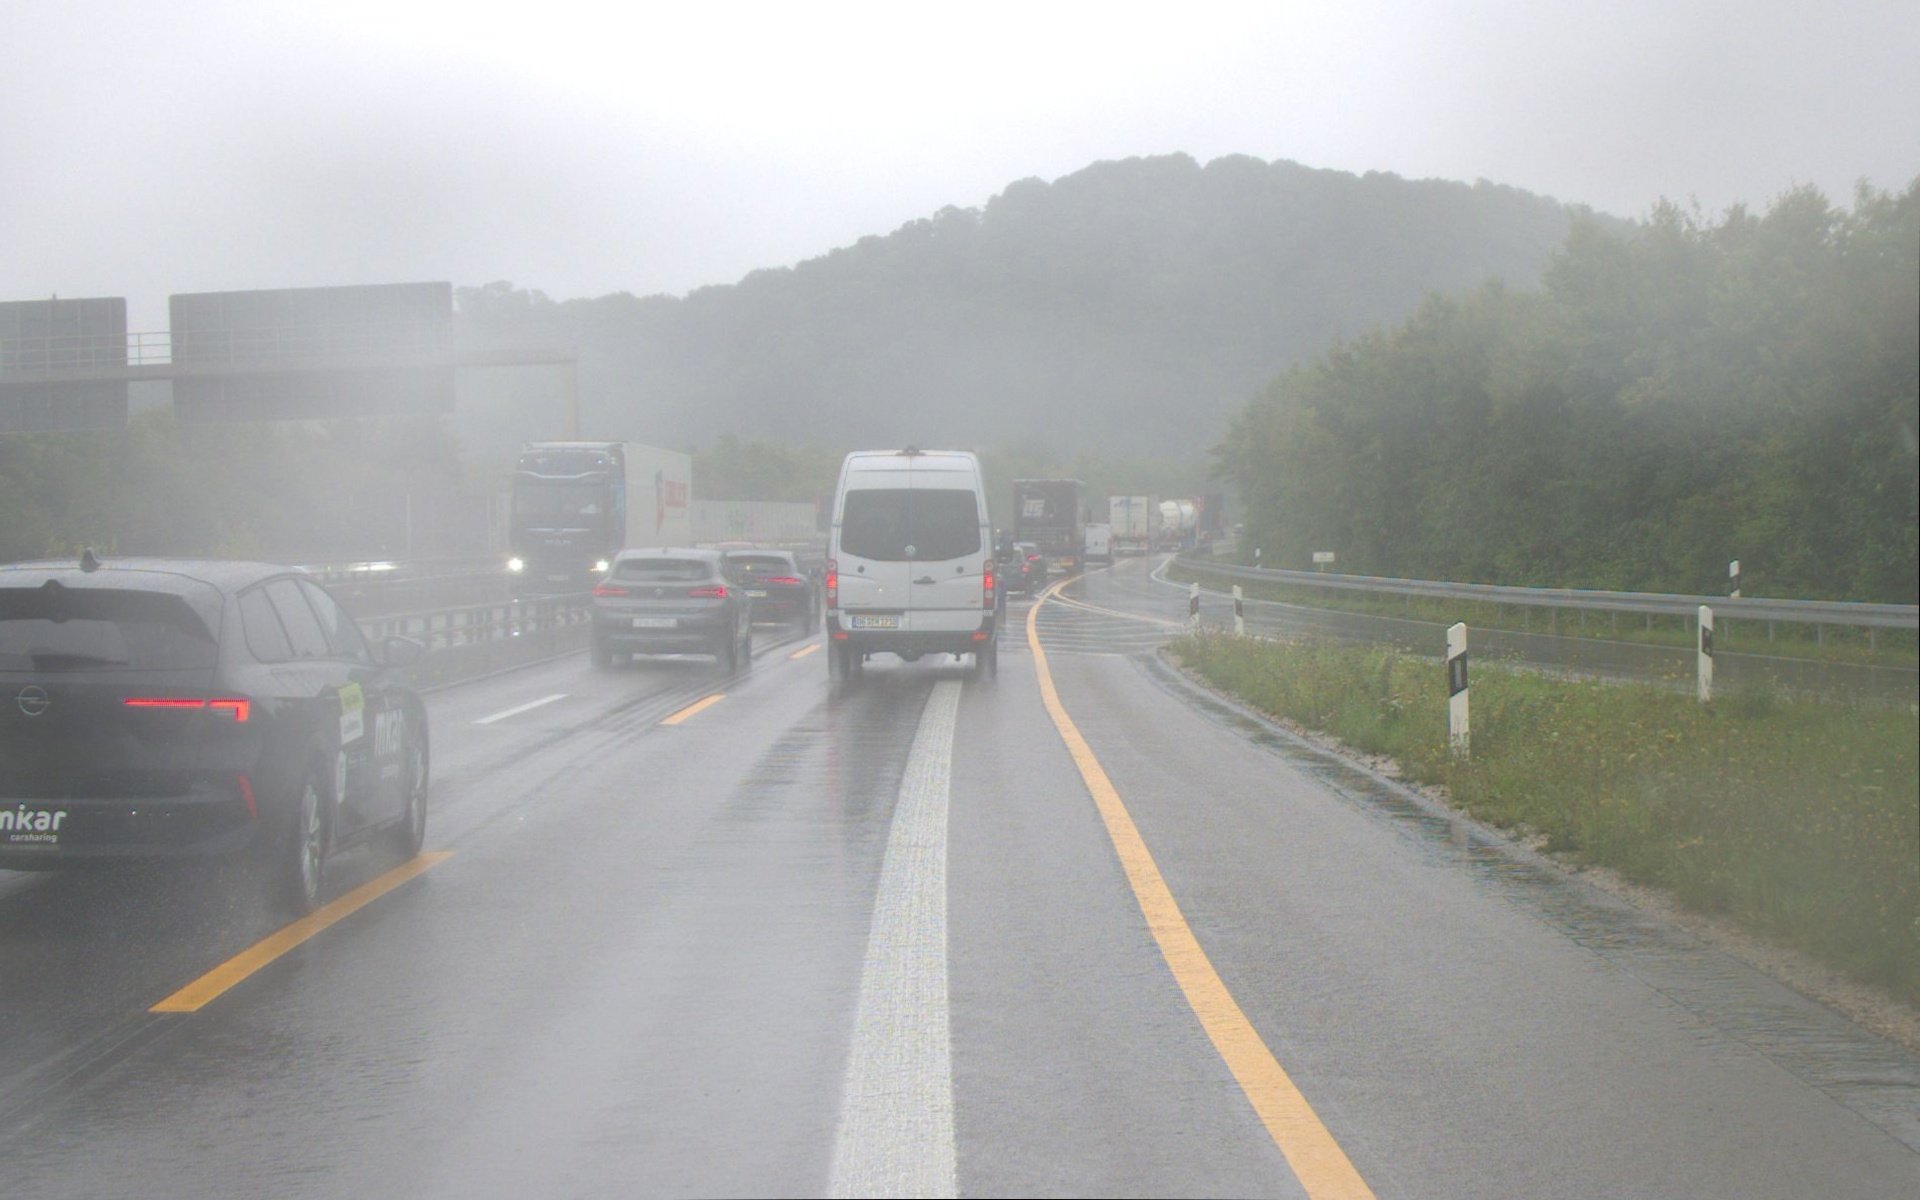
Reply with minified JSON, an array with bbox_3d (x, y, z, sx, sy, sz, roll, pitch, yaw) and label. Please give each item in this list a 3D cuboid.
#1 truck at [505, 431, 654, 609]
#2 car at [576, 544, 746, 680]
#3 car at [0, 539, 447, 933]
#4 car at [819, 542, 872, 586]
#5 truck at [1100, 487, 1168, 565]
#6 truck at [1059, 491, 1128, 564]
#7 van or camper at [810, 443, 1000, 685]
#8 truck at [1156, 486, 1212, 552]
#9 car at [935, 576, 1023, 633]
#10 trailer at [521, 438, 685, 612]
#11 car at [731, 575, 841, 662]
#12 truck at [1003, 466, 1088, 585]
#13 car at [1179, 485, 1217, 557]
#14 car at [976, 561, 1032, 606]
[{"bbox_3d":[-9.337,-1.913,85.029,2.889,4.217,6.326,0,0,1],"label":"truck"},{"bbox_3d":[-3.773,0.121,43.968,1.867,1.653,3.988,0,1,-1],"label":"car"},{"bbox_3d":[-3.483,0.465,14.865,1.938,1.422,4.760,1,1,-2],"label":"car"},{"bbox_3d":[-2.818,-0.890,85.131,1.262,1.074,3.255,0,1,-1],"label":"car"},{"bbox_3d":[11.387,-4.756,223.572,3.929,4.768,9.905,1,0,5],"label":"truck"},{"bbox_3d":[7.133,-3.846,184.827,3.320,3.749,9.907,1,0,1],"label":"truck"},{"bbox_3d":[-0.653,-0.431,41.058,2.139,2.712,4.648,0,1,-1],"label":"van or camper"},{"bbox_3d":[17.124,-6.180,262.707,3.929,4.768,9.905,1,0,5],"label":"truck"},{"bbox_3d":[0.349,0.076,66.461,1.384,1.074,3.123,0,1,-6],"label":"car"},{"bbox_3d":[-9.315,-1.886,91.107,2.893,4.271,12.895,0,0,0],"label":"trailer"},{"bbox_3d":[-3.107,0.302,62.002,1.852,1.495,4.000,0,1,-1],"label":"car"},{"bbox_3d":[3.555,-3.078,144.846,3.320,4.768,9.907,1,0,1],"label":"truck"},{"bbox_3d":[14.049,-4.638,203.339,2.058,4.177,6.745,0,1,3],"label":"car"},{"bbox_3d":[1.250,-0.474,98.492,1.384,1.252,3.123,0,1,-3],"label":"car"}]
